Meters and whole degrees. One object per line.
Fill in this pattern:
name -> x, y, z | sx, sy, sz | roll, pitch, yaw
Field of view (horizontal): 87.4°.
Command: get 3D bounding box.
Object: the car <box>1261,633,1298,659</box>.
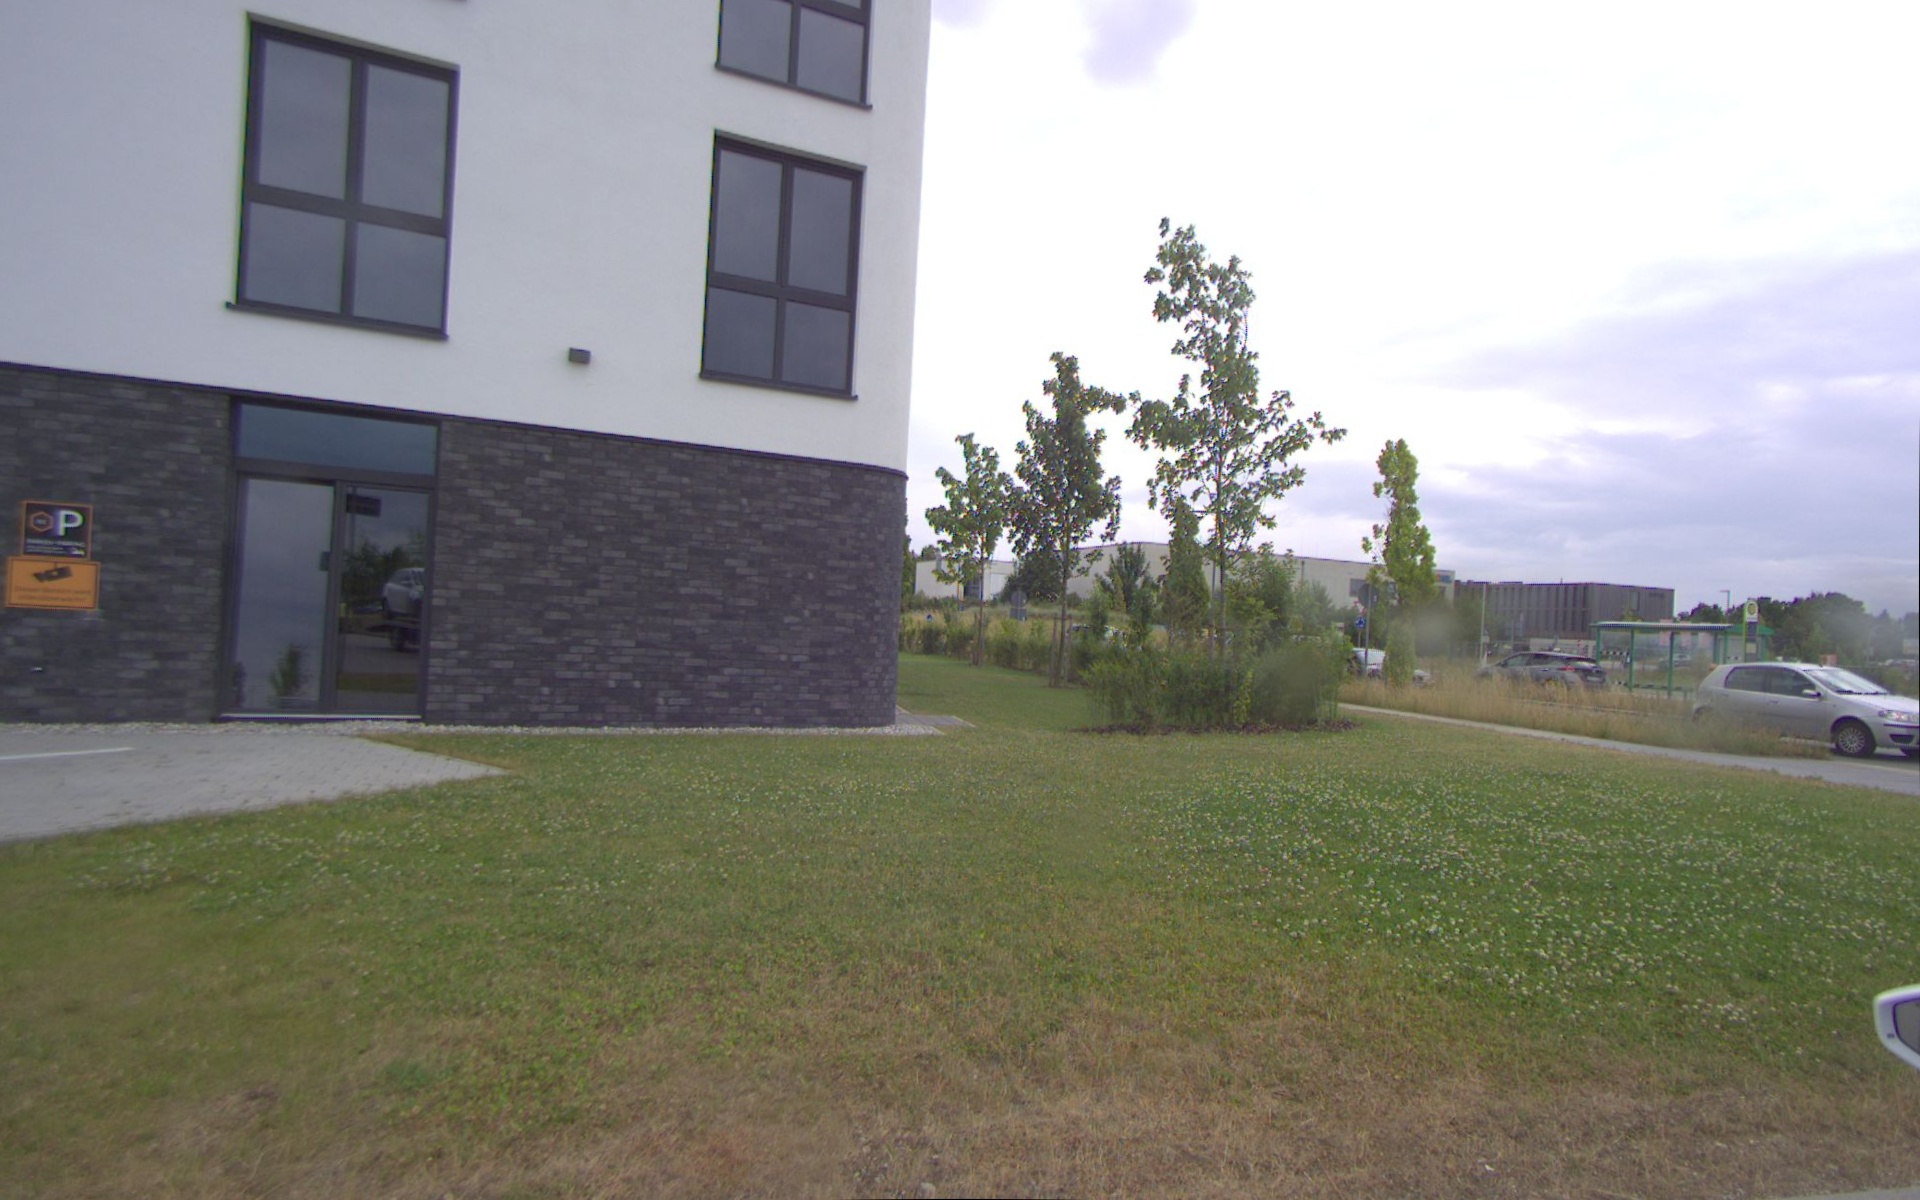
car -> 19.400, 2.774, 61.103 | 1.683, 1.360, 3.966 | 4, 0, 11

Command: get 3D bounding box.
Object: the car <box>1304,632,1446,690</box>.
car -> 12.284, 1.762, 30.027 | 1.729, 1.405, 4.291 | 3, -1, -13

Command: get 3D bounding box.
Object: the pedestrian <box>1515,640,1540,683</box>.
pedestrian -> 23.911, 2.590, 42.332 | 0.729, 1.744, 0.650 | 4, 0, 22

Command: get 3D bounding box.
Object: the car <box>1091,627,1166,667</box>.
car -> 7.616, 2.100, 45.823 | 1.790, 1.584, 4.390 | 2, -1, -13

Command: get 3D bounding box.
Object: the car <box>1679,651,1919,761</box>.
car -> 15.010, 1.770, 17.458 | 1.771, 1.480, 3.805 | 4, -1, -14

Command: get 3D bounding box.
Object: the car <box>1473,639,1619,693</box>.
car -> 18.855, 2.082, 32.523 | 1.690, 1.360, 4.052 | 4, 0, -14
